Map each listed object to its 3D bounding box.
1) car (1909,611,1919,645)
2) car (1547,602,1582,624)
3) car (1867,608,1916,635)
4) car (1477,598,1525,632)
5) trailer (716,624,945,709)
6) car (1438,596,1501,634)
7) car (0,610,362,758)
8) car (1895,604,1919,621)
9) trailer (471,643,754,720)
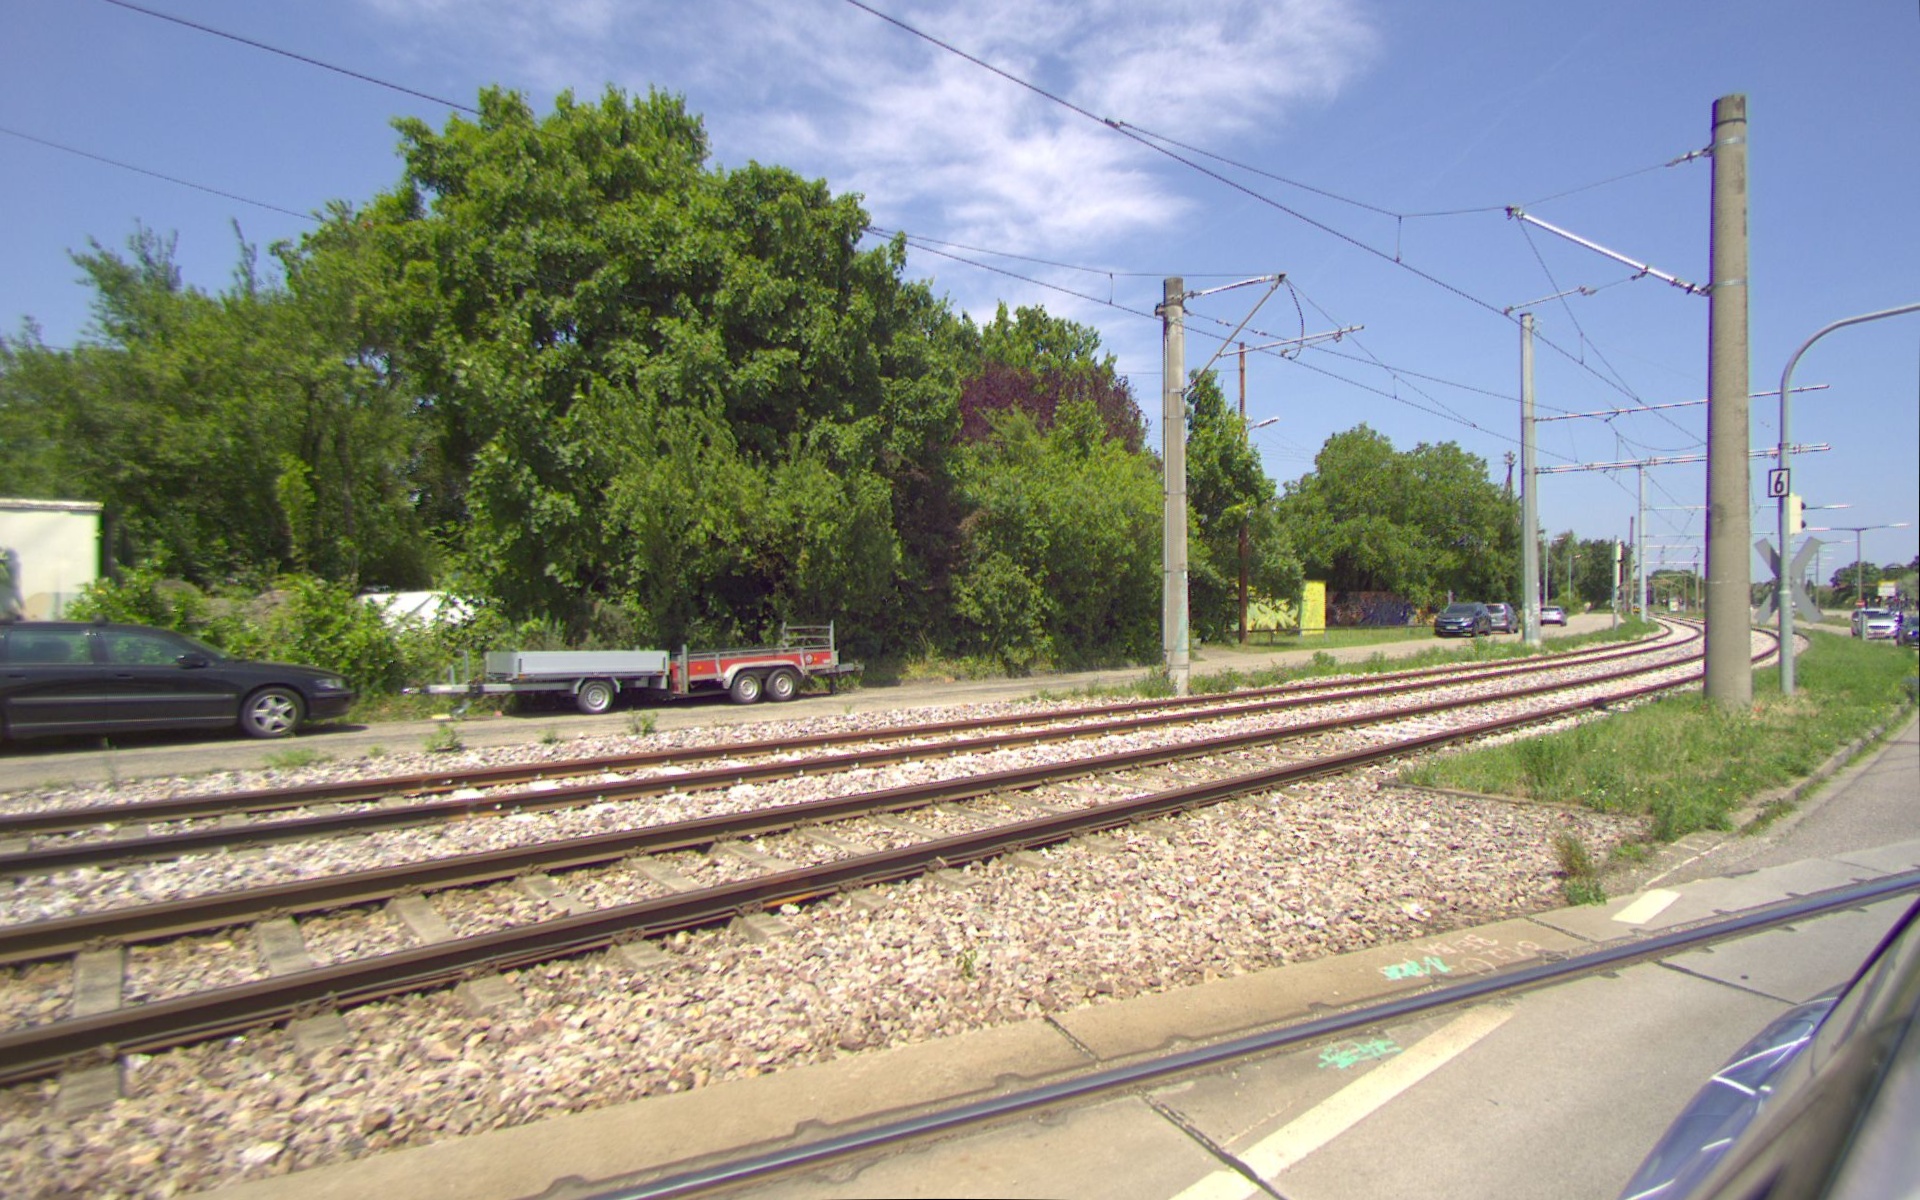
[{"bbox_3d":[43.905,1.270,45.401,1.502,1.449,3.315,0,1,36],"label":"car"},{"bbox_3d":[43.047,0.926,72.013,1.676,1.432,4.489,0,1,37],"label":"car"},{"bbox_3d":[58.245,1.319,63.336,1.799,1.492,3.468,0,1,35],"label":"car"},{"bbox_3d":[28.779,0.779,53.783,1.672,1.644,4.651,0,1,36],"label":"car"},{"bbox_3d":[-2.267,1.121,18.253,3.928,1.238,1.465,-1,1,-39],"label":"trailer"},{"bbox_3d":[24.804,0.685,49.200,1.825,1.677,4.748,1,1,39],"label":"car"},{"bbox_3d":[-9.844,0.904,11.884,4.655,1.444,1.801,-1,1,-39],"label":"car"},{"bbox_3d":[96.679,1.278,103.105,1.824,1.622,4.419,0,-1,40],"label":"car"},{"bbox_3d":[-5.294,1.198,15.710,3.927,1.008,1.422,1,-3,-39],"label":"trailer"}]
